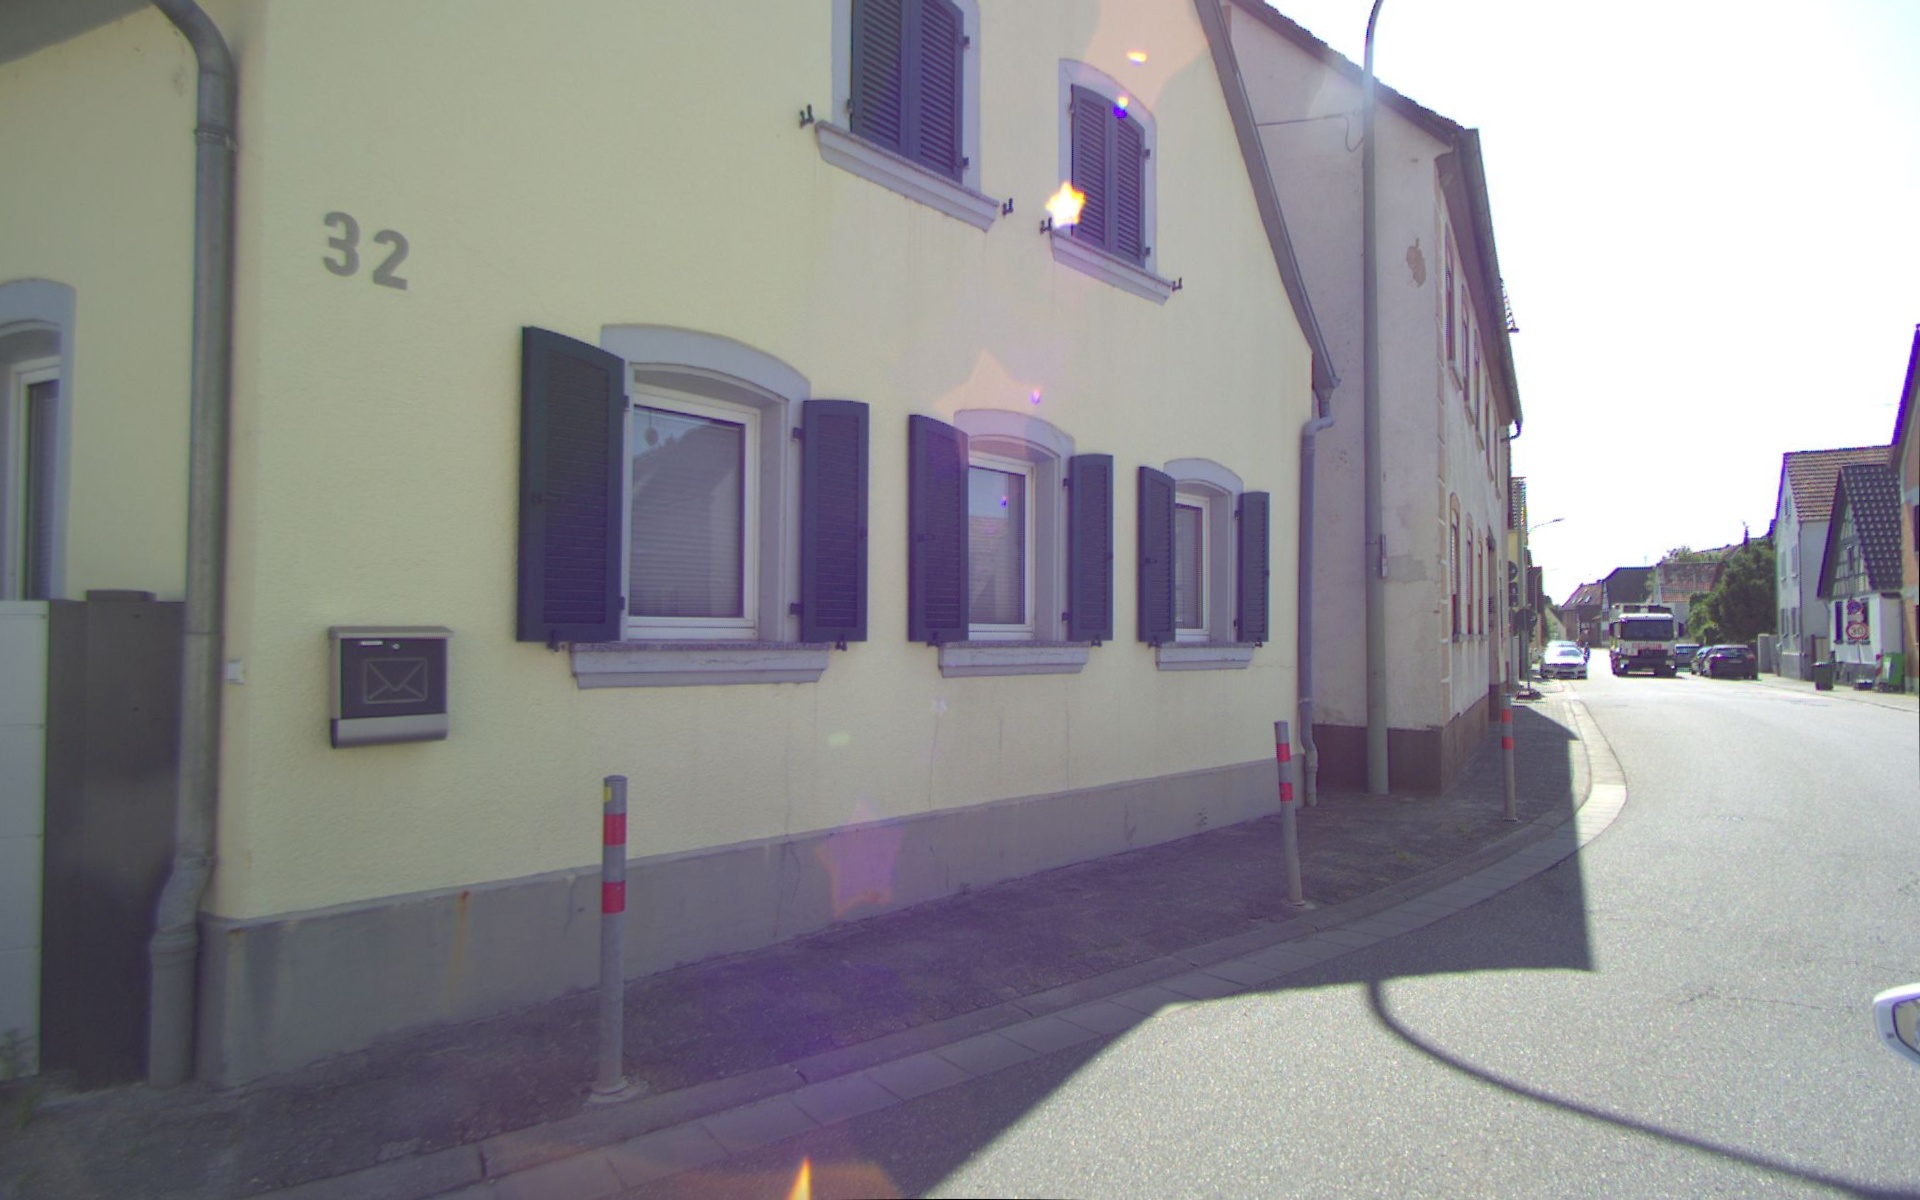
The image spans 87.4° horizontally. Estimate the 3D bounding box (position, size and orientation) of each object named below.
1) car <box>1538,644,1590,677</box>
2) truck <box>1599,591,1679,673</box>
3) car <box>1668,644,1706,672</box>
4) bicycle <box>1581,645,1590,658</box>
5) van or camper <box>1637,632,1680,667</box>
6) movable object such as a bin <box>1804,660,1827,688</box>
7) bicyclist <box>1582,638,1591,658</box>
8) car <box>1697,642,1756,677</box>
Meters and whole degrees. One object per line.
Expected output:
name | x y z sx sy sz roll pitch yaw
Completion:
car | 28.319 2.821 47.226 1.807 1.483 4.265 -2 -3 28
truck | 34.964 1.726 52.042 2.657 3.799 10.848 -2 -3 30
car | 45.229 3.594 62.532 1.770 1.652 4.348 -2 -3 34
bicycle | 56.591 4.632 90.842 0.580 1.163 1.945 -1 -3 30
van or camper | 57.657 4.082 82.990 2.485 2.732 4.547 -1 -3 30
movable object such as a bin | 29.812 2.572 35.005 0.547 0.925 0.533 2 -3 -42
bicyclist | 56.727 4.321 90.966 0.694 1.794 0.623 -2 -2 31
car | 36.885 2.831 48.420 1.772 1.580 4.621 -1 -3 32
